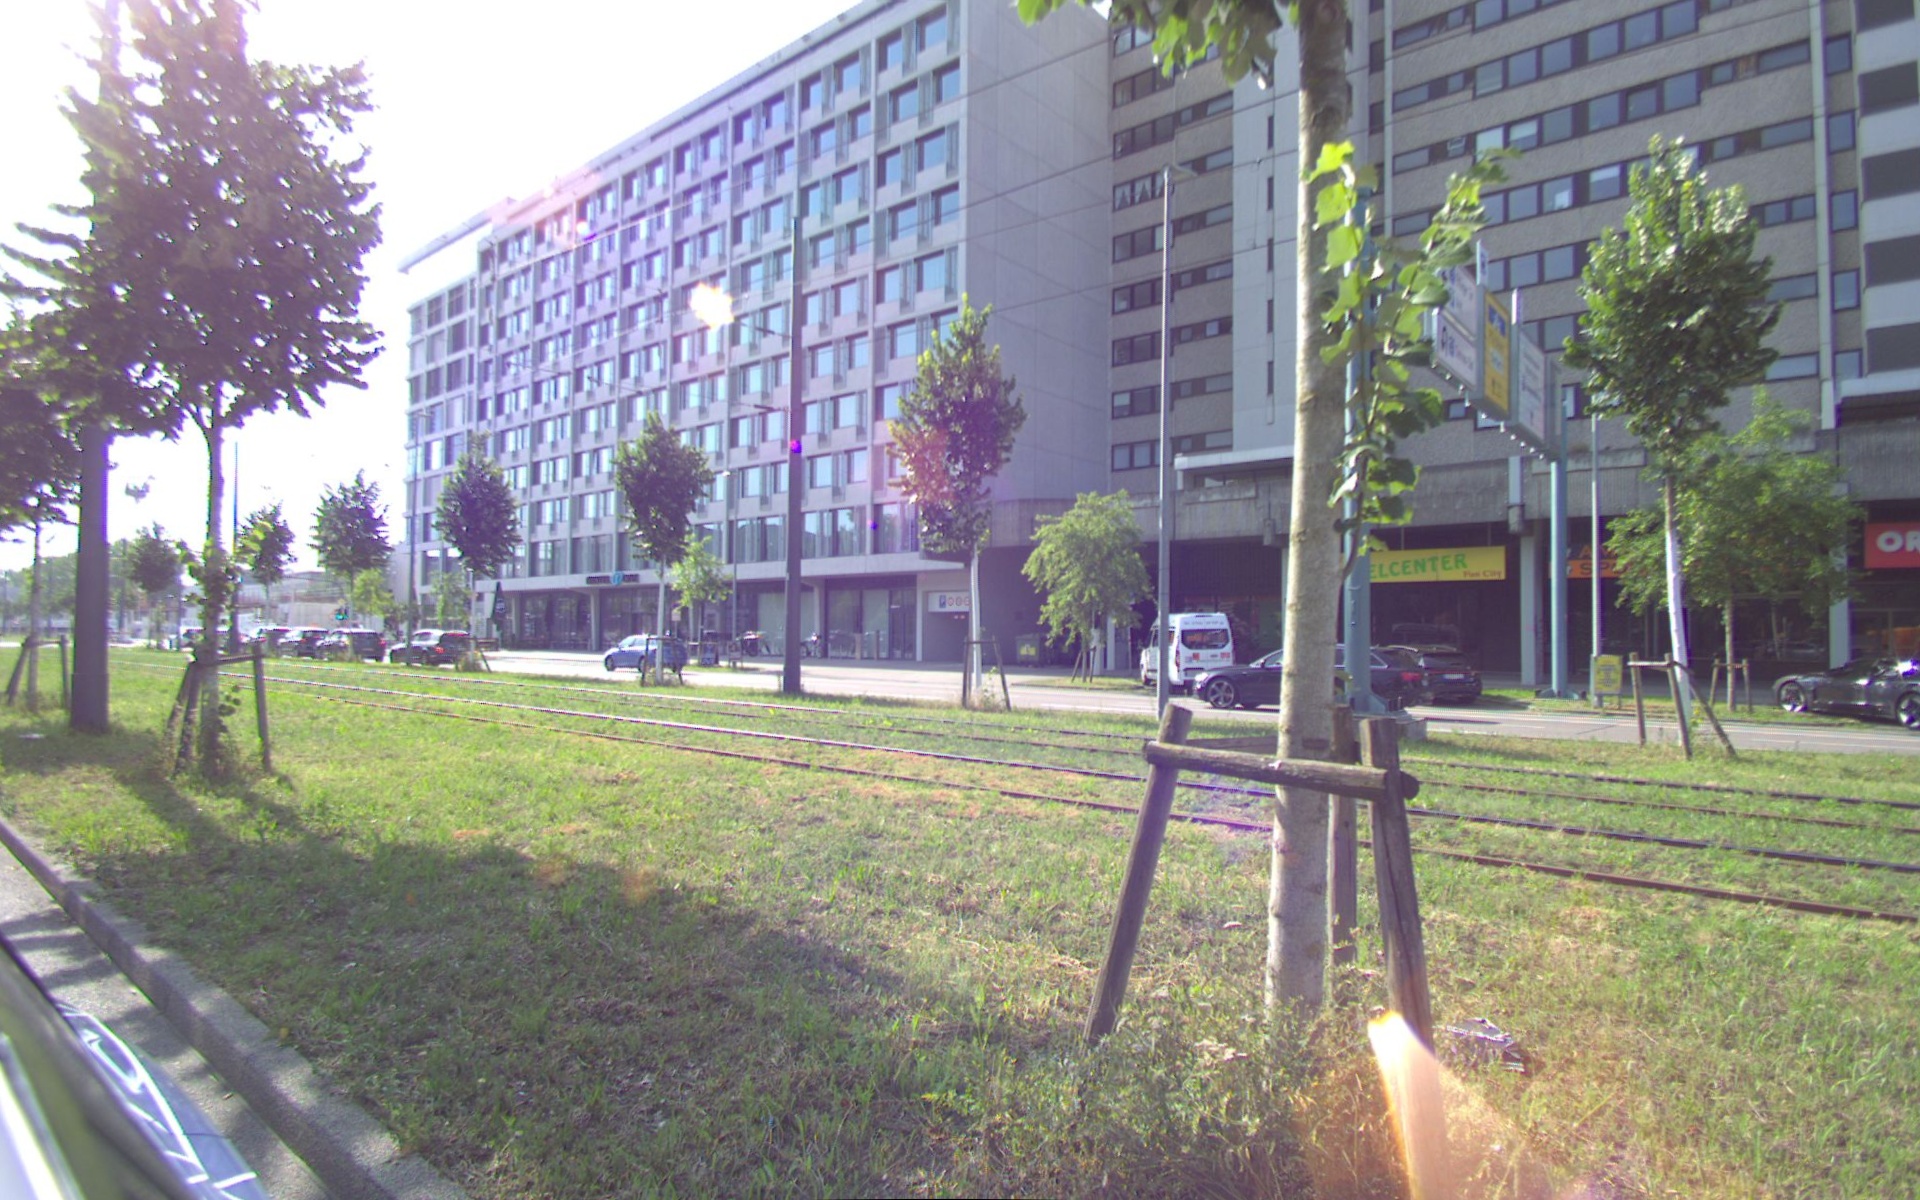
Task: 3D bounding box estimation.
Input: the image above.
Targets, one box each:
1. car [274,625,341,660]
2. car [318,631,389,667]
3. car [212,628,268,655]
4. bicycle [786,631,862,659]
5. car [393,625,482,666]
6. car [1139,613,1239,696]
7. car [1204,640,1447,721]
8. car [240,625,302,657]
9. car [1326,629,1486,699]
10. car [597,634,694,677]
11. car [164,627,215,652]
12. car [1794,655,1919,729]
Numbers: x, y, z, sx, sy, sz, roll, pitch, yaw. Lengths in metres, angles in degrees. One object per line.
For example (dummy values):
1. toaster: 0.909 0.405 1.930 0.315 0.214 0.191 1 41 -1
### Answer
1. car: -31.581 2.039 48.930 4.000 1.586 1.788 -2 -3 43
2. car: -26.806 2.143 44.689 3.641 1.498 1.722 -2 -3 43
3. car: -40.745 2.333 57.215 4.000 1.486 1.788 -2 -3 43
4. bicycle: -7.089 2.342 52.943 3.937 1.377 1.128 2 -3 -40
5. car: -19.999 1.716 38.689 4.000 1.492 1.788 -2 -3 43
6. car: 6.956 1.626 31.354 1.858 2.326 5.407 0 -2 0
7. car: 7.578 1.596 21.154 4.411 1.502 1.975 -1 -2 36
8. car: -35.752 2.109 52.476 4.000 1.586 1.788 -2 -3 43
9. car: 11.632 1.617 26.717 2.070 1.594 4.005 -2 -1 -6
10. car: -12.549 2.171 40.295 4.000 1.586 1.972 -2 -3 43
11. car: -48.507 2.466 63.670 3.998 1.536 1.764 -1 -3 41
12. car: 19.366 1.834 20.302 1.853 1.253 4.110 -1 0 1
